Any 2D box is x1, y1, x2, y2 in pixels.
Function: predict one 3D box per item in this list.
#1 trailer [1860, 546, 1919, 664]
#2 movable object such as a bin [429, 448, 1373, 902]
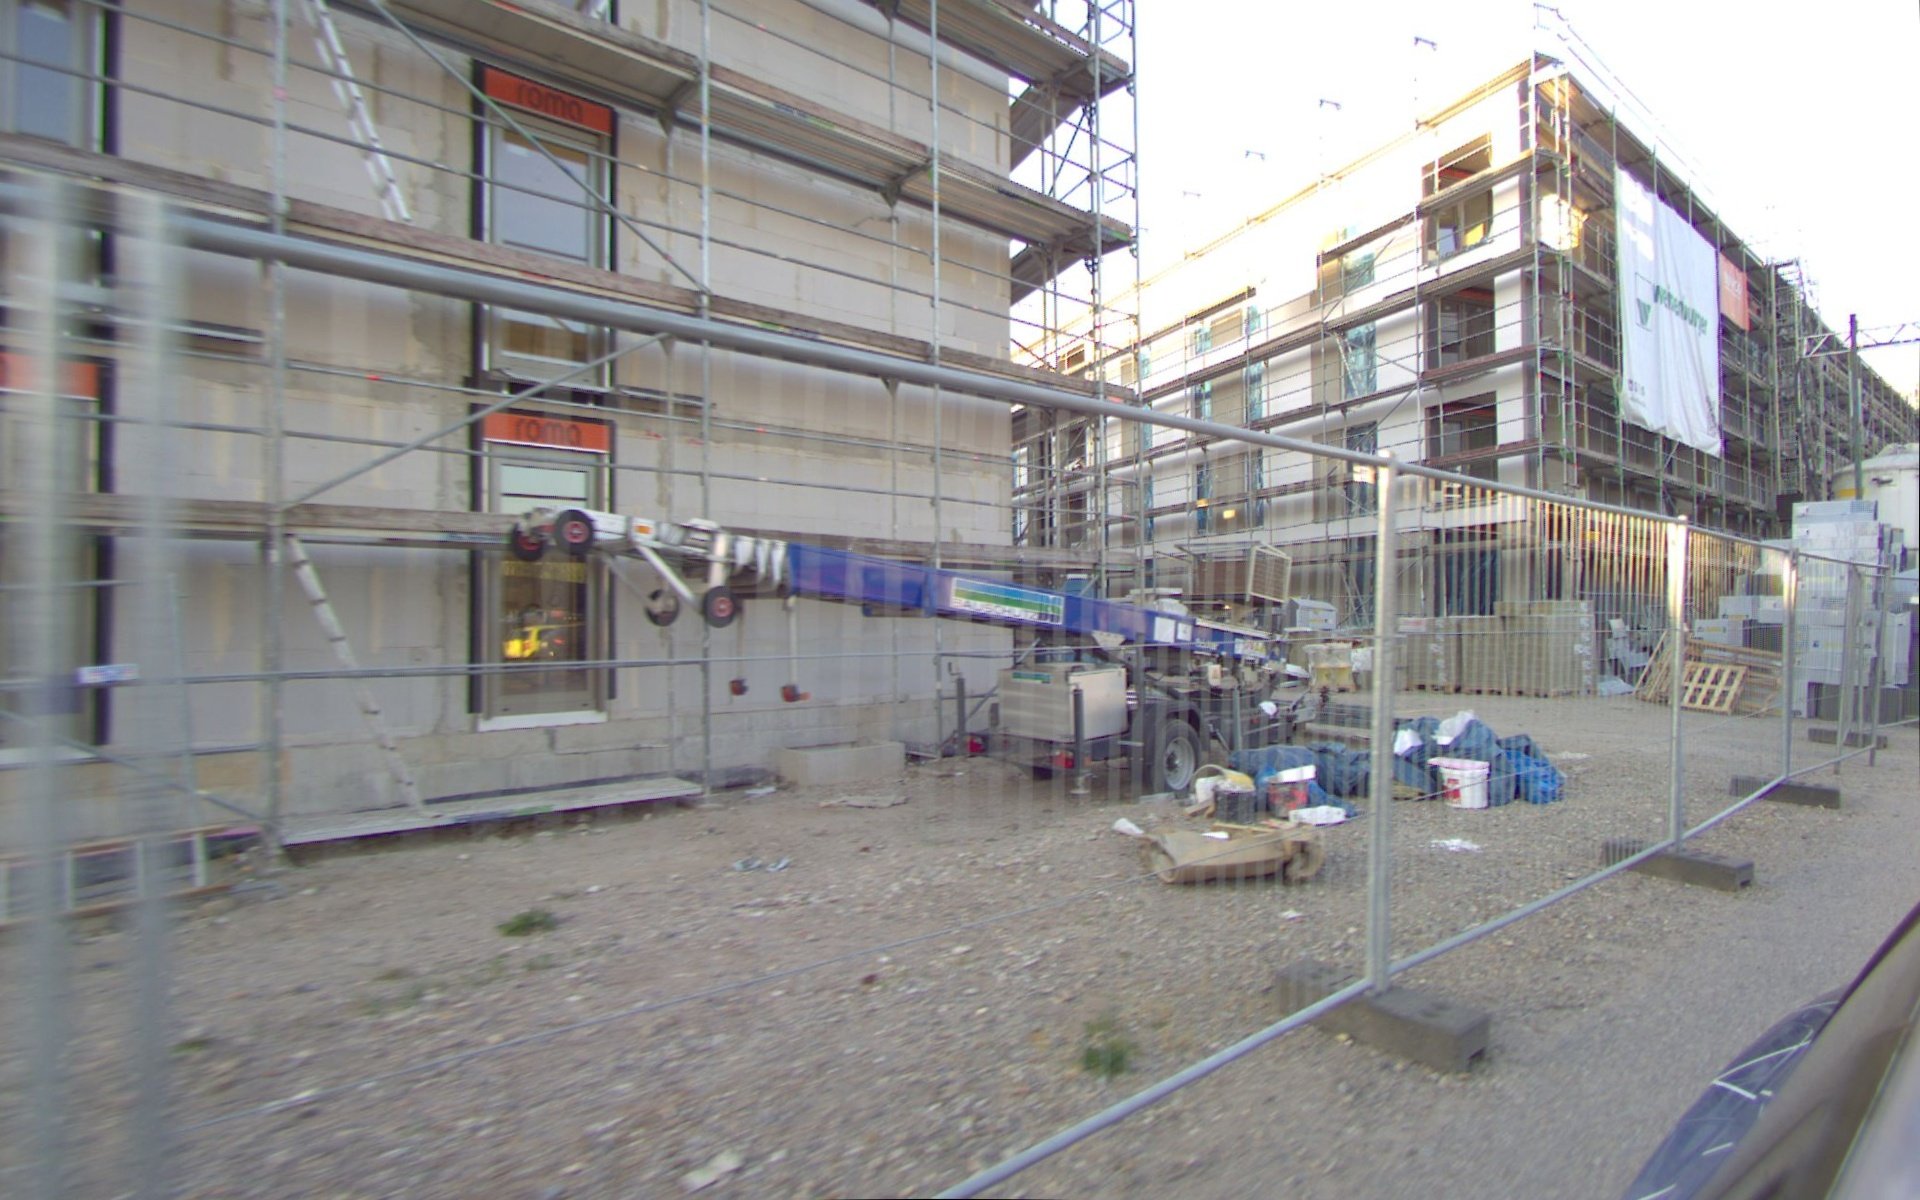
[{"bbox_3d":[26.405,0.137,27.276,6.131,2.949,2.577,0,0,-42],"label":"trailer"},{"bbox_3d":[0.307,0.382,8.498,8.214,2.302,2.070,0,0,-38],"label":"movable object such as a bin"}]
